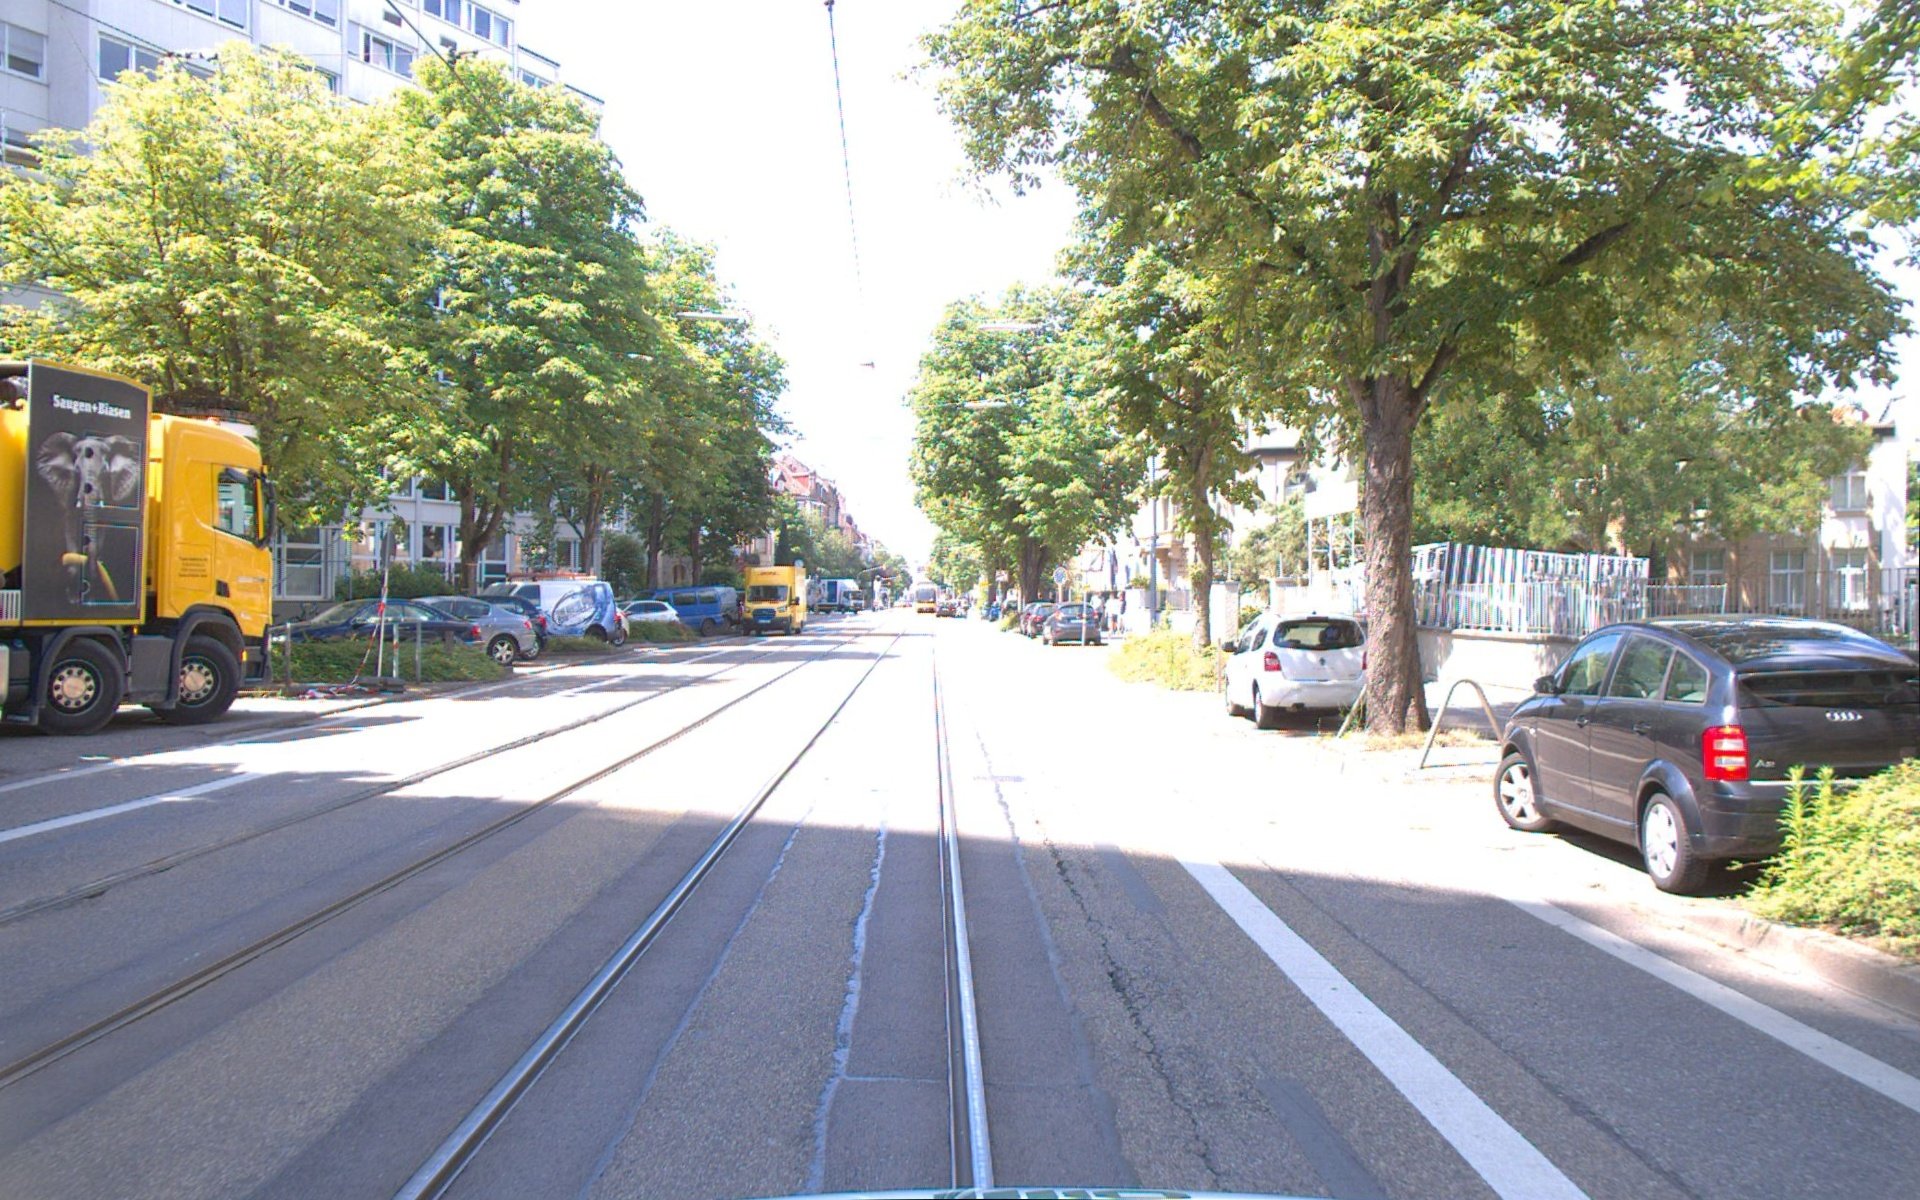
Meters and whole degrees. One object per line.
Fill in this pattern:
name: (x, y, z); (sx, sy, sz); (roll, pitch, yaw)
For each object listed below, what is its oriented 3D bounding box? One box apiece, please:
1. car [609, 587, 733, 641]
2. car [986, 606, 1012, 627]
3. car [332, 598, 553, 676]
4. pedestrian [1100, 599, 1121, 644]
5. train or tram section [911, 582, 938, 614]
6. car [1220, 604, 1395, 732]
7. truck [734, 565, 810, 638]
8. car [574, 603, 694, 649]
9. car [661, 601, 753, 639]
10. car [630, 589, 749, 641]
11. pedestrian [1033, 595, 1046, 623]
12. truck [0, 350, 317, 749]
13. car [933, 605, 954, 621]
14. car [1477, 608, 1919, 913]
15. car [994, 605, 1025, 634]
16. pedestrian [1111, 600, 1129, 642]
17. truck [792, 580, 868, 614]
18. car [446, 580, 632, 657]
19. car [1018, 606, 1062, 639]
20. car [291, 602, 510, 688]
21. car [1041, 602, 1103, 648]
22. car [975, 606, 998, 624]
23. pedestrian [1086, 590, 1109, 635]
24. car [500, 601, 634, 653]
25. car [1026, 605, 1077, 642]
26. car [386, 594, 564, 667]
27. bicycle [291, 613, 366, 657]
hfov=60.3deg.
car: (-11.362, 0.540, 65.295); (1.815, 1.989, 4.701); (-1, 0, 43)
car: (2.736, 1.131, 116.777); (1.676, 1.448, 4.308); (0, -1, -2)
car: (-11.053, 0.763, 35.499); (4.169, 1.533, 1.845); (-1, 0, -43)
pedestrian: (6.274, 0.898, 69.009); (0.710, 1.892, 0.576); (-1, 0, 27)
train or tram section: (-4.091, -0.222, 191.633); (2.973, 3.499, 11.968); (0, 0, 0)
car: (4.642, 0.859, 22.577); (1.610, 1.561, 3.785); (0, 0, 0)
truck: (-7.912, 0.041, 70.461); (2.312, 2.902, 7.378); (-1, 0, 0)
car: (-11.556, 0.909, 58.788); (1.730, 1.458, 3.978); (-3, -1, 41)
car: (-11.463, 0.887, 75.059); (1.717, 1.628, 3.894); (-1, 0, 43)
car: (-11.678, 0.619, 71.539); (4.719, 2.098, 1.997); (-1, 0, -41)
pedestrian: (5.418, 0.590, 112.538); (0.792, 1.892, 0.623); (0, -2, -3)
truck: (-10.786, -0.534, 16.063); (2.657, 3.909, 10.972); (2, -1, 13)
car: (-1.424, 1.139, 142.761); (1.745, 1.369, 3.415); (0, 0, -1)
car: (4.818, 0.861, 10.705); (1.611, 1.561, 3.946); (0, 0, -2)
car: (2.902, 1.138, 97.210); (1.560, 1.645, 3.906); (0, -1, -2)
pedestrian: (6.782, 0.910, 70.287); (0.606, 1.768, 0.478); (-1, -1, 25)
truck: (-14.199, -0.350, 180.355); (8.276, 3.612, 2.941); (0, 0, 33)
car: (-11.499, 0.482, 45.407); (1.887, 1.968, 4.730); (-2, 0, 41)
car: (3.630, 1.031, 75.356); (1.676, 1.448, 4.242); (0, -1, -2)
car: (-10.829, 0.833, 32.170); (1.731, 1.533, 3.688); (-1, 0, 41)
car: (3.789, 0.852, 56.465); (1.607, 1.511, 3.869); (0, -1, -4)
car: (2.155, 1.210, 134.994); (1.676, 1.448, 4.308); (0, -1, -2)
pedestrian: (5.830, 0.528, 70.060); (0.792, 1.892, 0.576); (-1, 0, 23)
car: (-12.132, 0.832, 51.186); (1.732, 1.493, 3.685); (-2, 0, 43)
car: (3.778, 0.978, 68.963); (1.838, 1.480, 4.527); (0, -1, -1)
car: (-11.282, 0.683, 38.614); (1.662, 1.571, 3.685); (-1, 0, 43)
bicycle: (-17.116, 0.936, 44.822); (2.087, 1.094, 0.557); (2, 0, 24)
